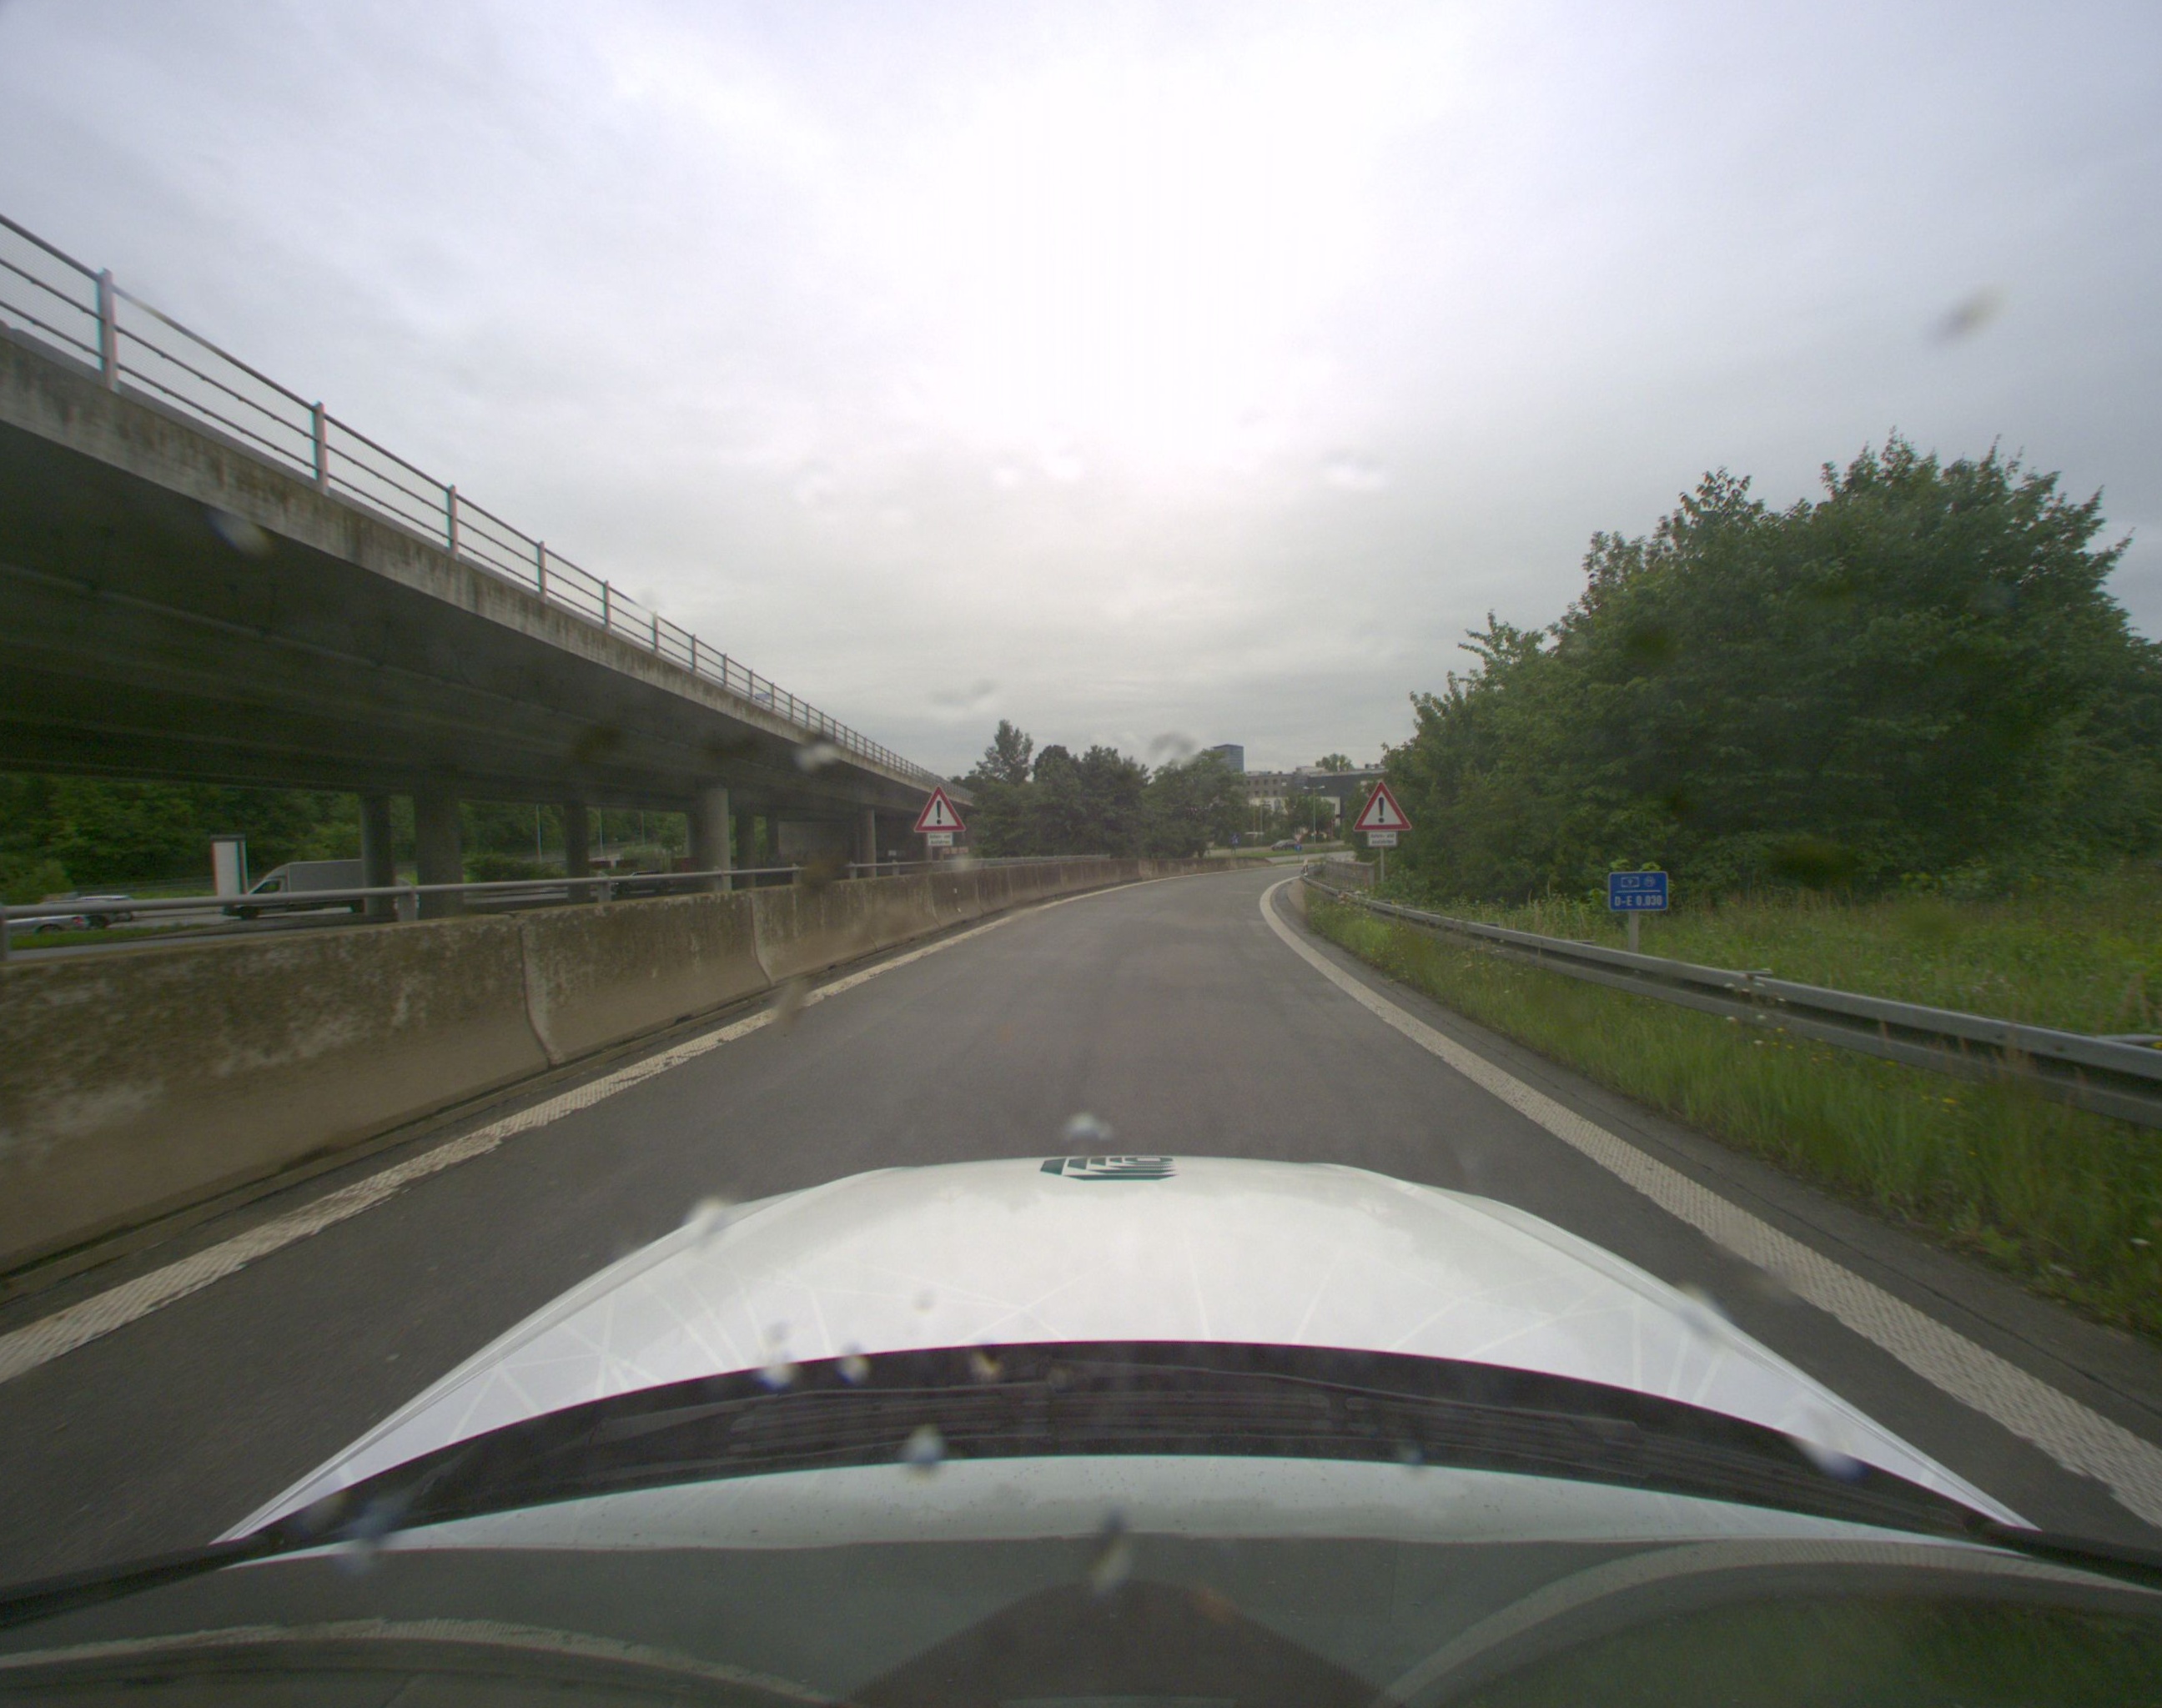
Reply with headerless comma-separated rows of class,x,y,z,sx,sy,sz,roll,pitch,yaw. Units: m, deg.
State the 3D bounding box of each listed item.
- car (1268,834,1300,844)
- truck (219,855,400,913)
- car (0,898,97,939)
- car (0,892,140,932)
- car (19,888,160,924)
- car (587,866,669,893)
car,29.310,-2.136,117.527,4.843,1.396,1.952,-2,2,-41
truck,-43.347,1.605,46.124,7.270,2.977,2.234,-1,0,-40
car,-48.721,2.988,37.191,4.618,1.583,1.951,-3,1,-45
car,-50.049,2.842,40.080,4.617,1.583,1.951,-3,1,-42
car,-54.166,2.812,44.646,4.616,1.583,1.951,-3,1,-42
car,-31.659,1.756,56.980,4.618,1.583,1.951,-3,1,-45
